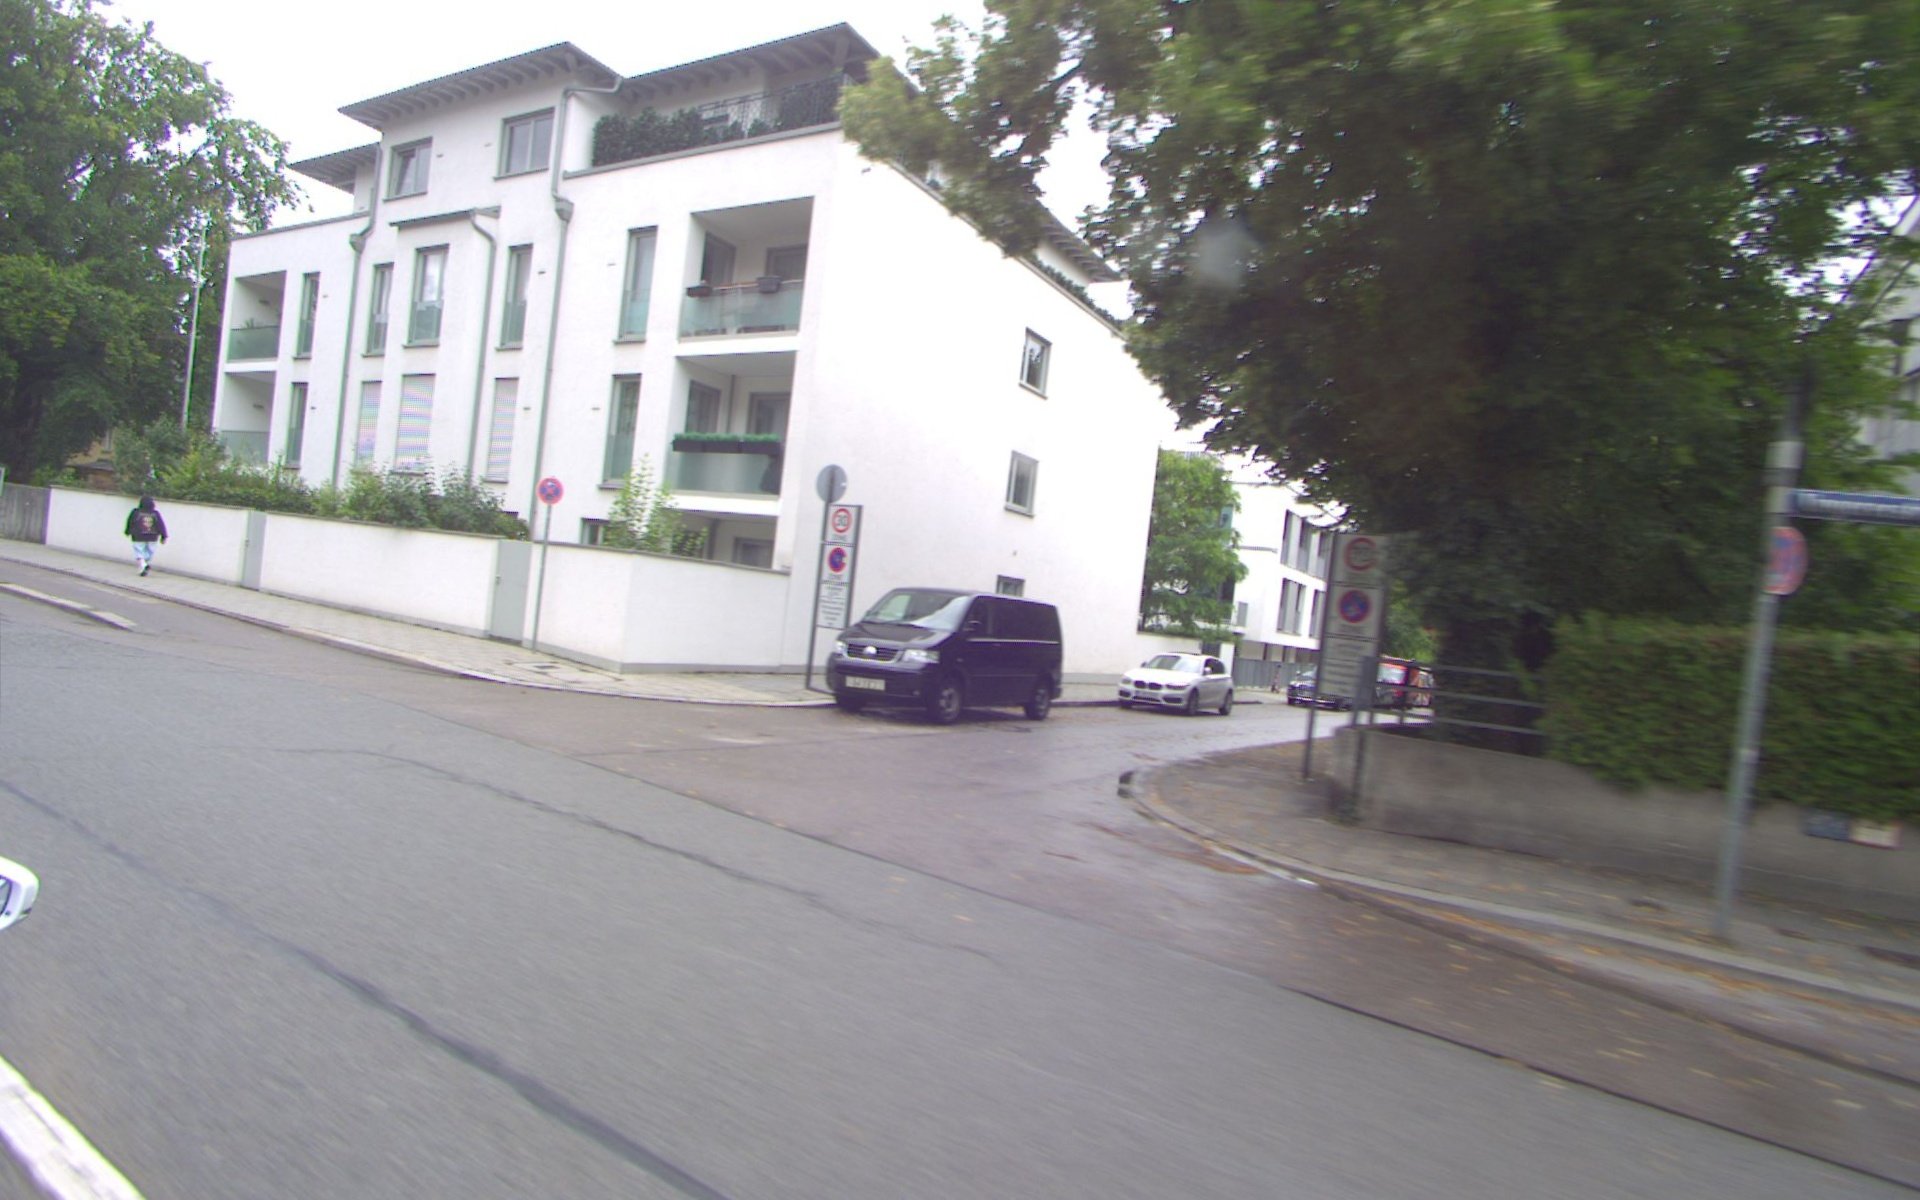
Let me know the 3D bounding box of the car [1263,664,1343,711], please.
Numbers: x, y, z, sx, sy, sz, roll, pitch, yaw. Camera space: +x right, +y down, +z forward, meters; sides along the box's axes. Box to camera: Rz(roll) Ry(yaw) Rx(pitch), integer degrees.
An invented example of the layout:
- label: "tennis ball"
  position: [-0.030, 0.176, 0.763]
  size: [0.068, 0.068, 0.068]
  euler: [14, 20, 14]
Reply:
- label: "car"
  position: [12.540, 3.212, 36.750]
  size: [1.839, 1.268, 2.993]
  euler: [7, -3, 37]

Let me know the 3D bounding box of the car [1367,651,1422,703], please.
- label: "car"
  position: [22.652, 4.007, 52.320]
  size: [1.837, 2.361, 4.682]
  euler: [6, -1, 31]

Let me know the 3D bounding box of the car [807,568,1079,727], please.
- label: "car"
  position: [-0.056, 0.769, 15.522]
  size: [1.844, 1.947, 4.727]
  euler: [6, -1, 31]

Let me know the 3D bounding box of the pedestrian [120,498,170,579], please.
- label: "pedestrian"
  position: [-16.996, -1.285, 20.982]
  size: [0.716, 1.602, 0.528]
  euler: [7, 3, 31]

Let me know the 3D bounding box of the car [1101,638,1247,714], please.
- label: "car"
  position: [5.215, 1.839, 24.143]
  size: [1.840, 1.482, 3.987]
  euler: [6, -1, 37]

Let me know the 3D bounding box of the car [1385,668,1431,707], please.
- label: "car"
  position: [26.376, 5.114, 59.214]
  size: [1.837, 2.005, 4.220]
  euler: [6, -1, 31]
